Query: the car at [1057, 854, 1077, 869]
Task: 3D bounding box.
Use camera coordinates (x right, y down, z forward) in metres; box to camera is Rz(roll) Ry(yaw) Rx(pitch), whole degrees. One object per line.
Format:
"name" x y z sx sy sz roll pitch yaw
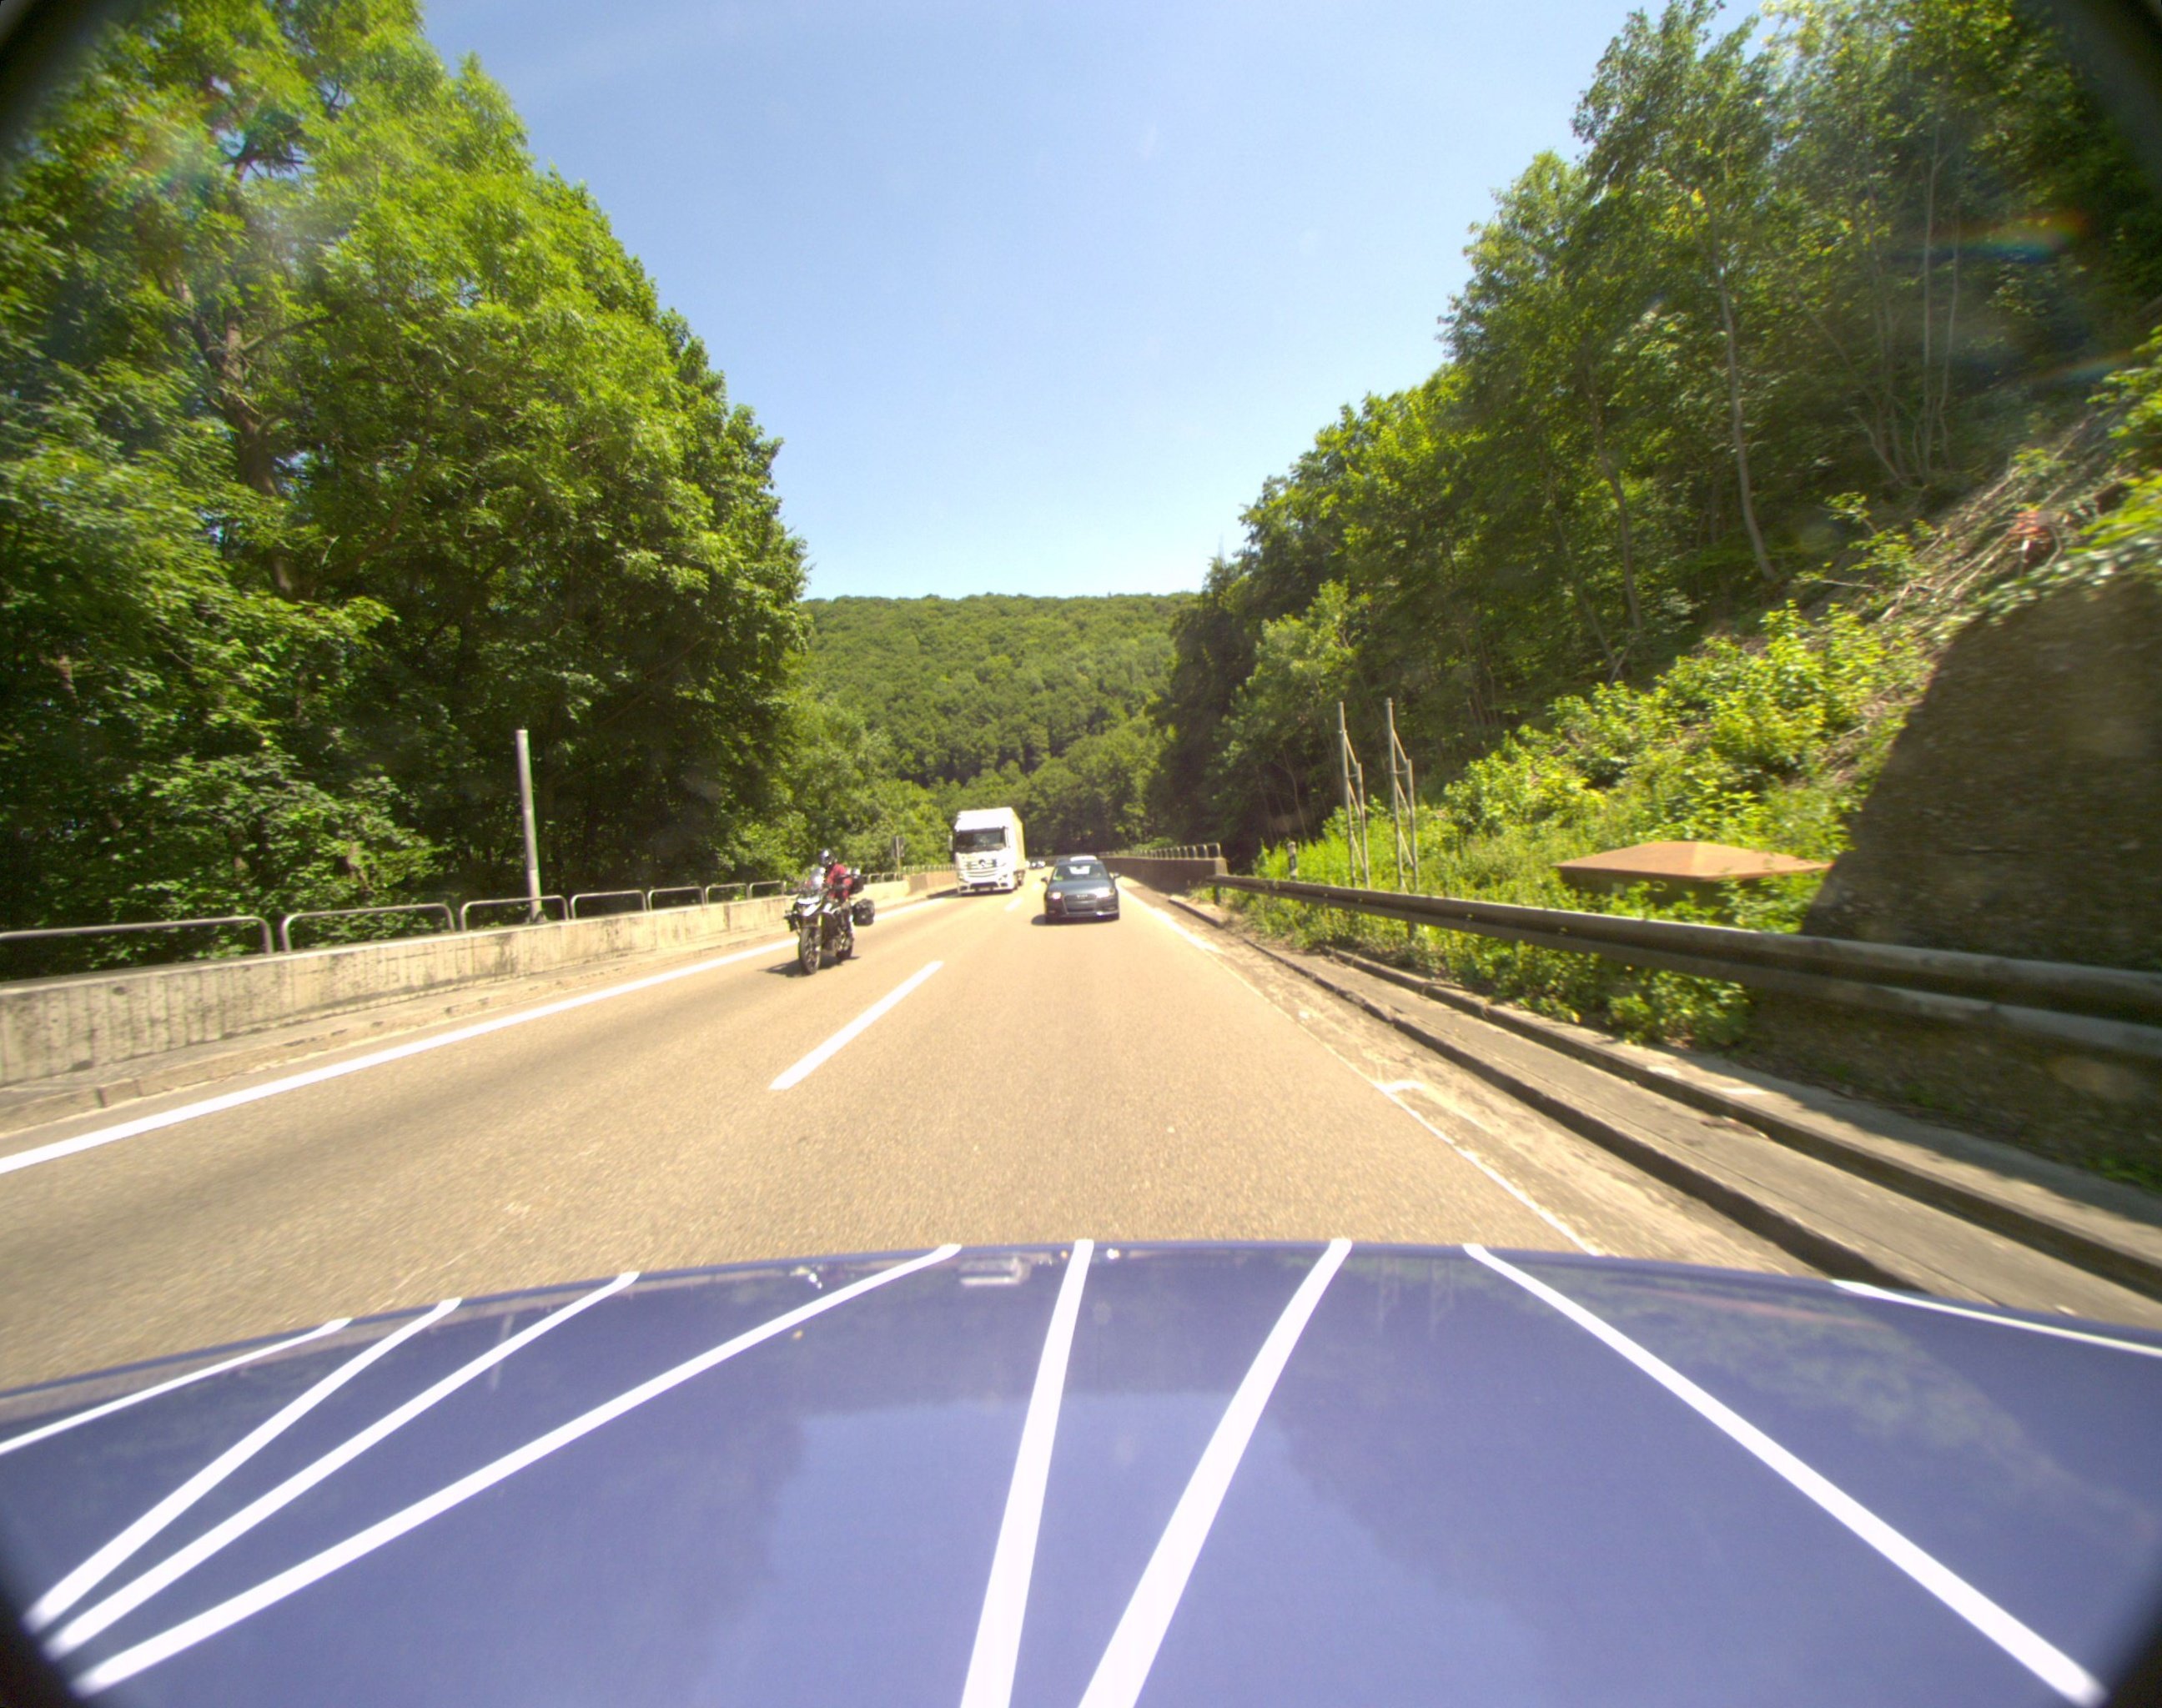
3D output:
"car" -1.443 0.754 78.370 1.756 1.480 3.980 -2 0 -5

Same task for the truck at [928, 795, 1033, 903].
"truck" -4.565 -0.240 38.941 2.969 4.108 16.704 -6 0 -1

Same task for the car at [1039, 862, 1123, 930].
"car" -0.038 0.921 18.500 1.755 1.350 4.121 -2 0 -1

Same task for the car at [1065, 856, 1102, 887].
"car" 0.120 0.857 38.990 1.755 1.460 3.981 -2 0 0

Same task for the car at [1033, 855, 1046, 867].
"car" -5.843 0.965 106.452 1.619 1.487 3.654 -3 0 -5

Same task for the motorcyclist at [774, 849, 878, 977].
"motorcyclist" -3.821 0.844 11.522 1.063 1.790 1.338 -2 1 -2

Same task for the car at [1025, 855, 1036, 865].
"car" -7.975 0.881 119.749 1.619 1.487 3.654 -3 0 -6

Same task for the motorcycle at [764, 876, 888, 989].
"motorcycle" -3.807 1.106 11.686 0.975 1.411 2.680 -2 0 -1
